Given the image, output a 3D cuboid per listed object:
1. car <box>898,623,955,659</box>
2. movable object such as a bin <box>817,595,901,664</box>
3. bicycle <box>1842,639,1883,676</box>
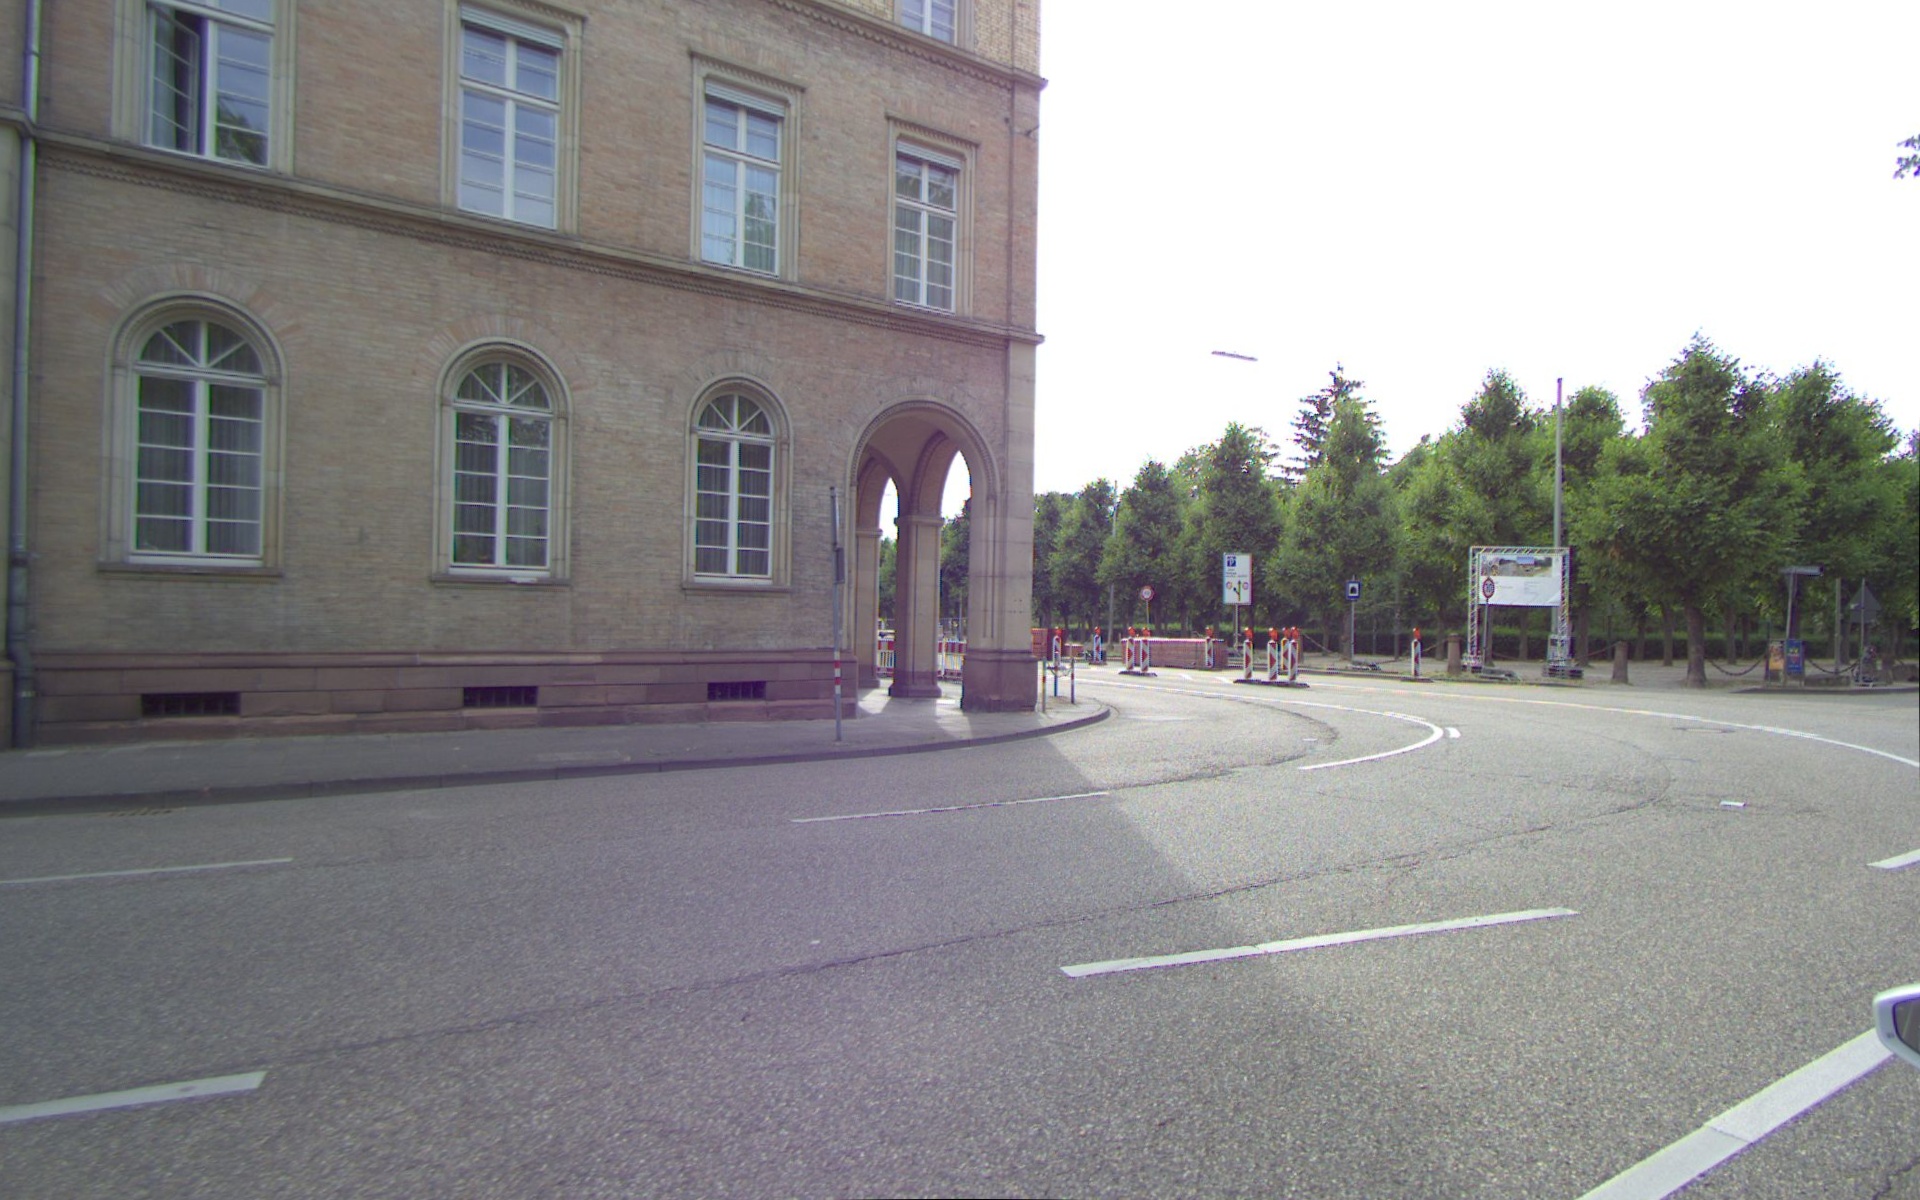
[{"bbox_3d":[-2.164,2.583,63.681,1.974,2.040,4.315,1,0,-26],"label":"car"},{"bbox_3d":[-4.362,1.267,42.725,2.095,2.754,4.589,1,-2,-26],"label":"movable object such as a bin"},{"bbox_3d":[30.466,1.920,33.943,0.941,1.125,2.566,2,0,41],"label":"bicycle"}]
